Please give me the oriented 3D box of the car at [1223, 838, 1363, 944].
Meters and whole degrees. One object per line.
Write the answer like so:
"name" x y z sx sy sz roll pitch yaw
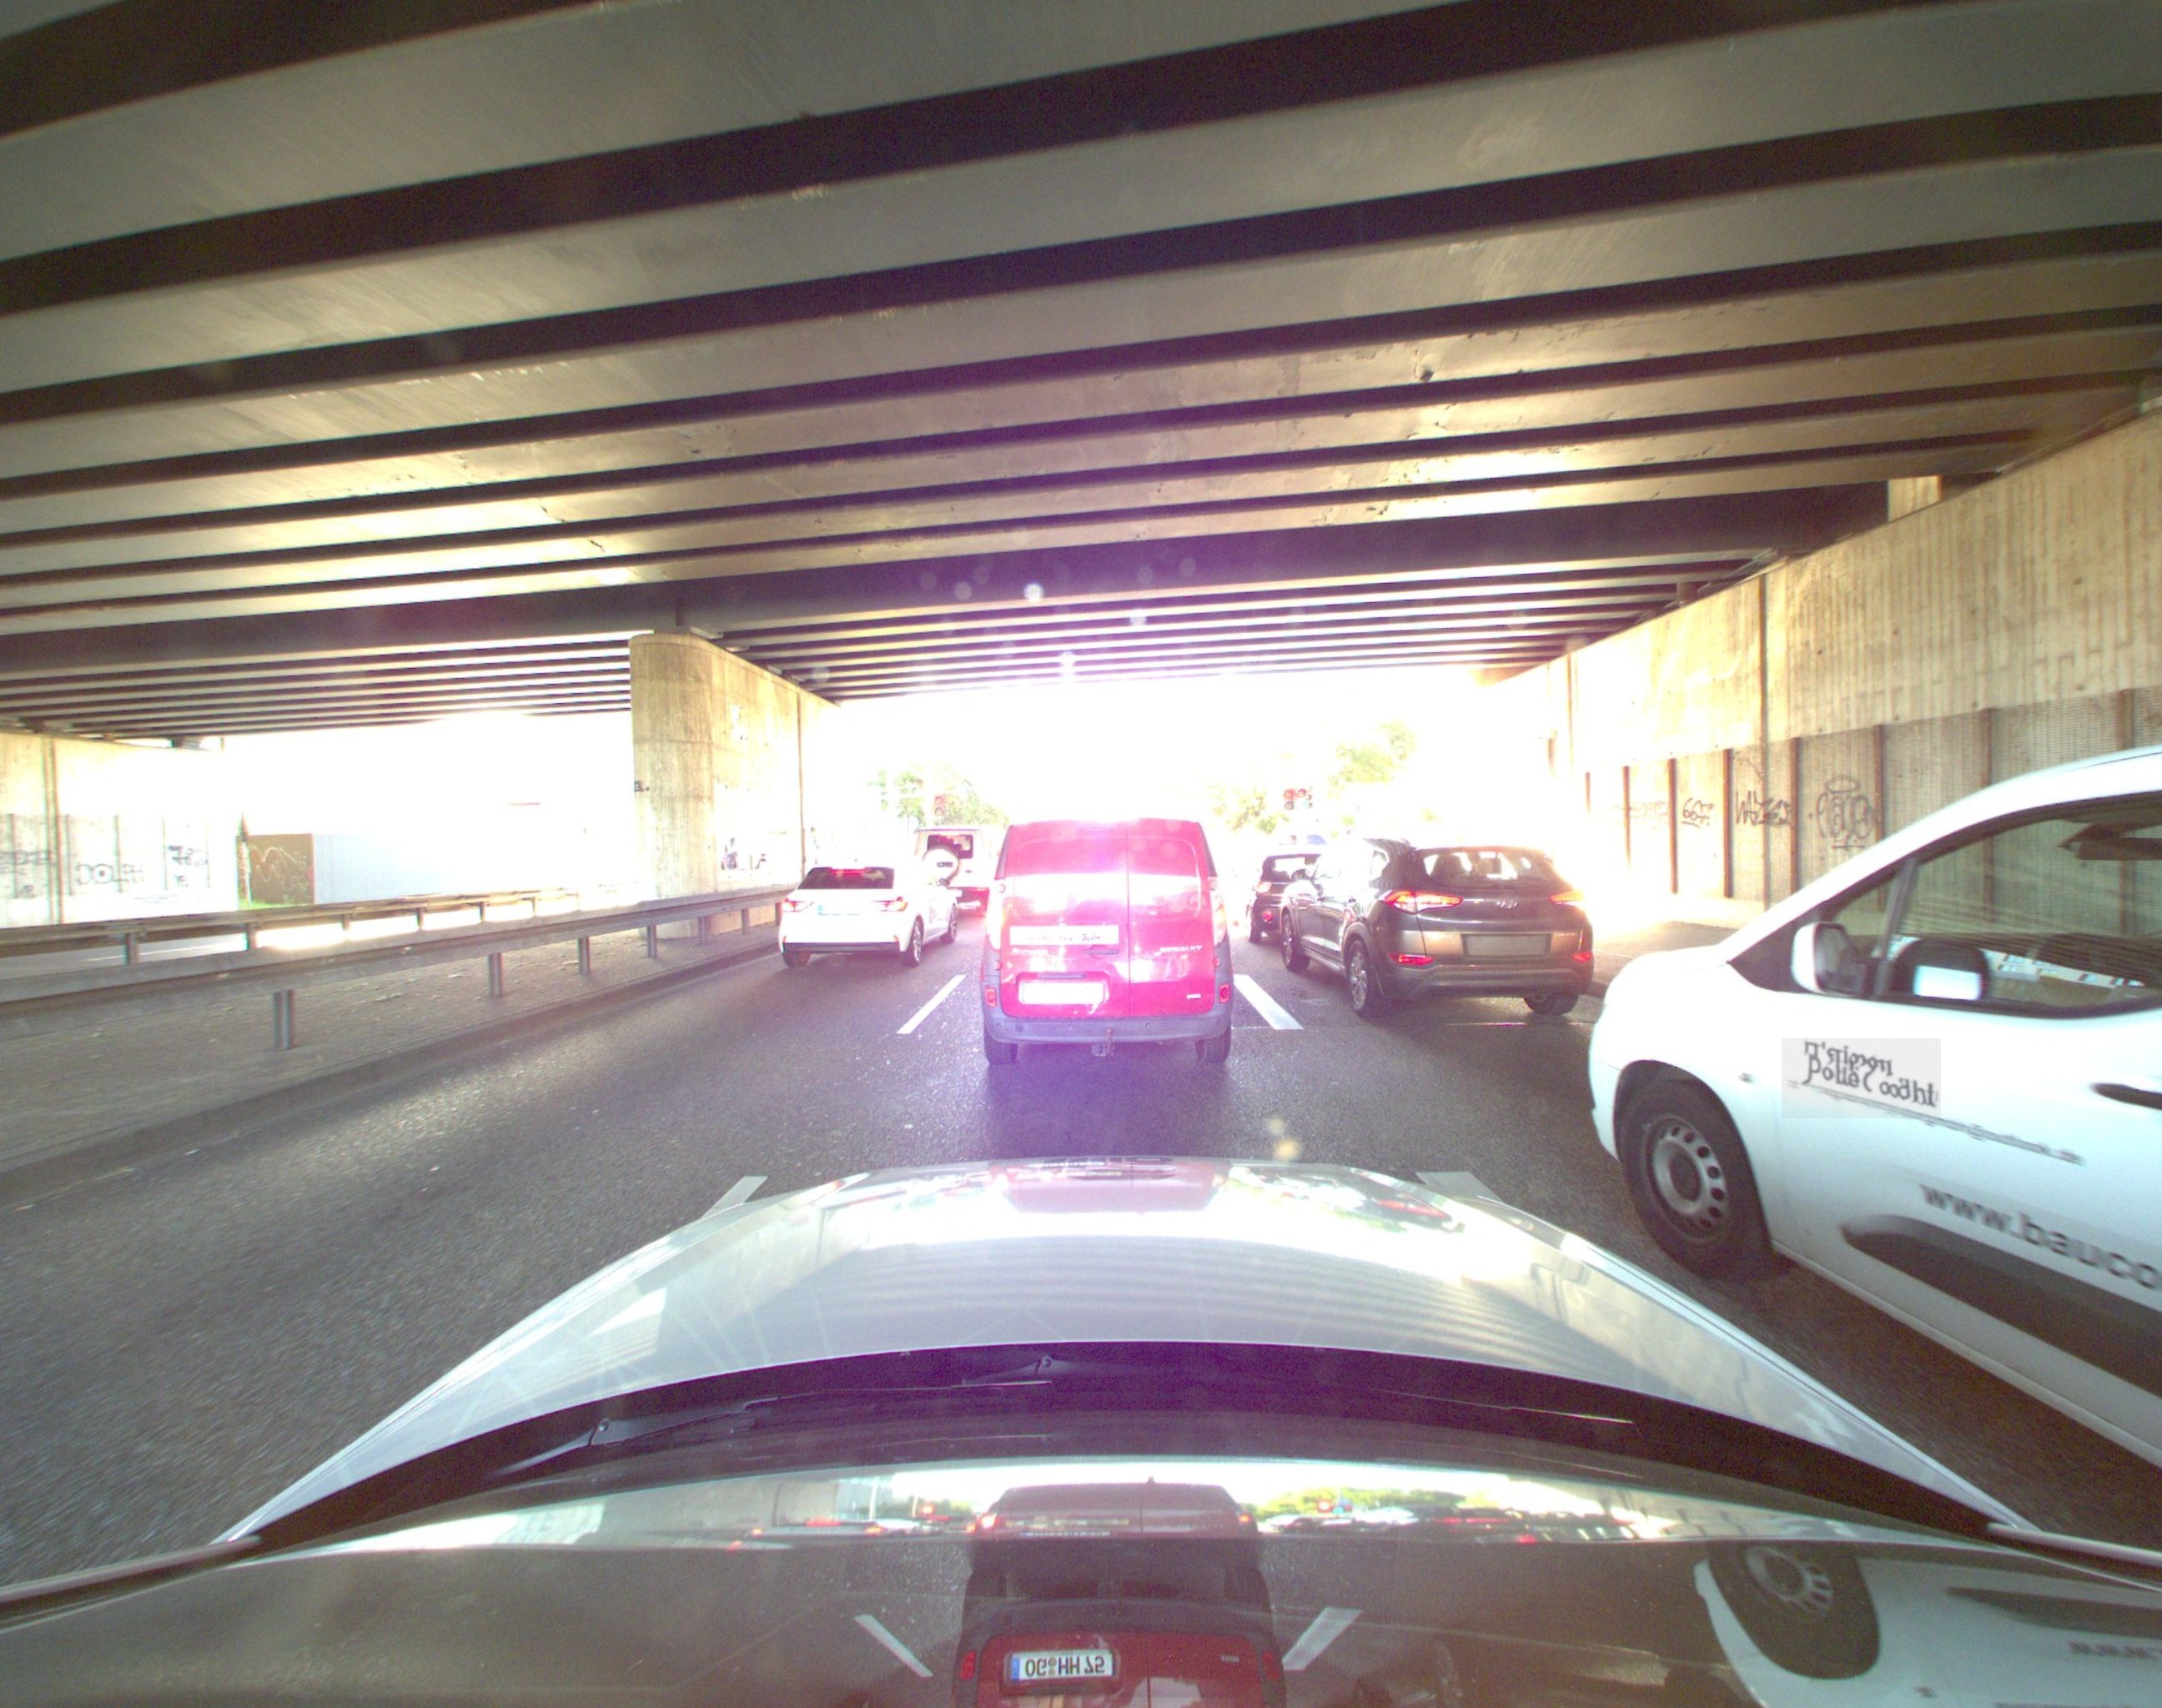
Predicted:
"car" 3.461 0.505 13.951 1.645 1.552 3.868 0 1 4

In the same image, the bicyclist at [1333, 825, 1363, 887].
"bicyclist" 7.141 0.060 21.803 0.673 1.629 0.646 0 -1 12

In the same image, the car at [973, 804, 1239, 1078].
"car" 0.227 0.554 7.275 1.712 1.764 4.002 0 0 2

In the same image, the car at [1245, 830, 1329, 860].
"car" 11.511 -0.475 45.721 4.328 1.607 2.002 0 0 3

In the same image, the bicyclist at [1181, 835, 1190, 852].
"bicyclist" 8.398 -0.819 65.443 0.651 1.329 0.602 0 -1 -2

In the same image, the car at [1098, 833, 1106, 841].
"car" 5.728 -4.564 221.025 1.986 2.014 4.002 0 0 2

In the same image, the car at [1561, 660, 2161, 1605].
"car" 2.995 0.538 1.437 1.807 1.833 4.301 0 1 0

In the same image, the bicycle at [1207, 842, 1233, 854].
"bicycle" 11.050 -0.494 64.560 1.945 0.874 0.700 -1 0 2

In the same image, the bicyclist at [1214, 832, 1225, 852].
"bicyclist" 10.945 -0.971 64.564 0.752 1.542 0.697 -1 0 2

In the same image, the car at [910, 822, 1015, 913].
"car" -2.665 0.280 19.166 1.807 1.904 3.814 0 0 1

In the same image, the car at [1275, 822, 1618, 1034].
"car" 3.336 0.559 8.369 1.772 1.655 3.990 0 0 0

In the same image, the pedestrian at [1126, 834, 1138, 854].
"pedestrian" 3.972 -0.787 63.924 0.835 1.554 0.556 -1 0 -5

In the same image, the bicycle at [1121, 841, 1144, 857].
"bicycle" 4.031 -0.390 63.925 1.726 1.233 0.557 -1 0 -5

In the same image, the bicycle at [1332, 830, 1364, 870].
"bicycle" 7.138 -0.105 21.816 0.672 1.024 1.534 0 0 13

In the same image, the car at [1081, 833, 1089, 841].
"car" 1.070 -4.674 225.312 1.986 2.014 4.002 0 0 2

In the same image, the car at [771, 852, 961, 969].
"car" -2.903 0.680 11.857 1.687 1.410 3.814 0 0 1

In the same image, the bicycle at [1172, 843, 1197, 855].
"bicycle" 8.286 -0.407 65.424 1.908 0.867 0.605 -1 0 -2
